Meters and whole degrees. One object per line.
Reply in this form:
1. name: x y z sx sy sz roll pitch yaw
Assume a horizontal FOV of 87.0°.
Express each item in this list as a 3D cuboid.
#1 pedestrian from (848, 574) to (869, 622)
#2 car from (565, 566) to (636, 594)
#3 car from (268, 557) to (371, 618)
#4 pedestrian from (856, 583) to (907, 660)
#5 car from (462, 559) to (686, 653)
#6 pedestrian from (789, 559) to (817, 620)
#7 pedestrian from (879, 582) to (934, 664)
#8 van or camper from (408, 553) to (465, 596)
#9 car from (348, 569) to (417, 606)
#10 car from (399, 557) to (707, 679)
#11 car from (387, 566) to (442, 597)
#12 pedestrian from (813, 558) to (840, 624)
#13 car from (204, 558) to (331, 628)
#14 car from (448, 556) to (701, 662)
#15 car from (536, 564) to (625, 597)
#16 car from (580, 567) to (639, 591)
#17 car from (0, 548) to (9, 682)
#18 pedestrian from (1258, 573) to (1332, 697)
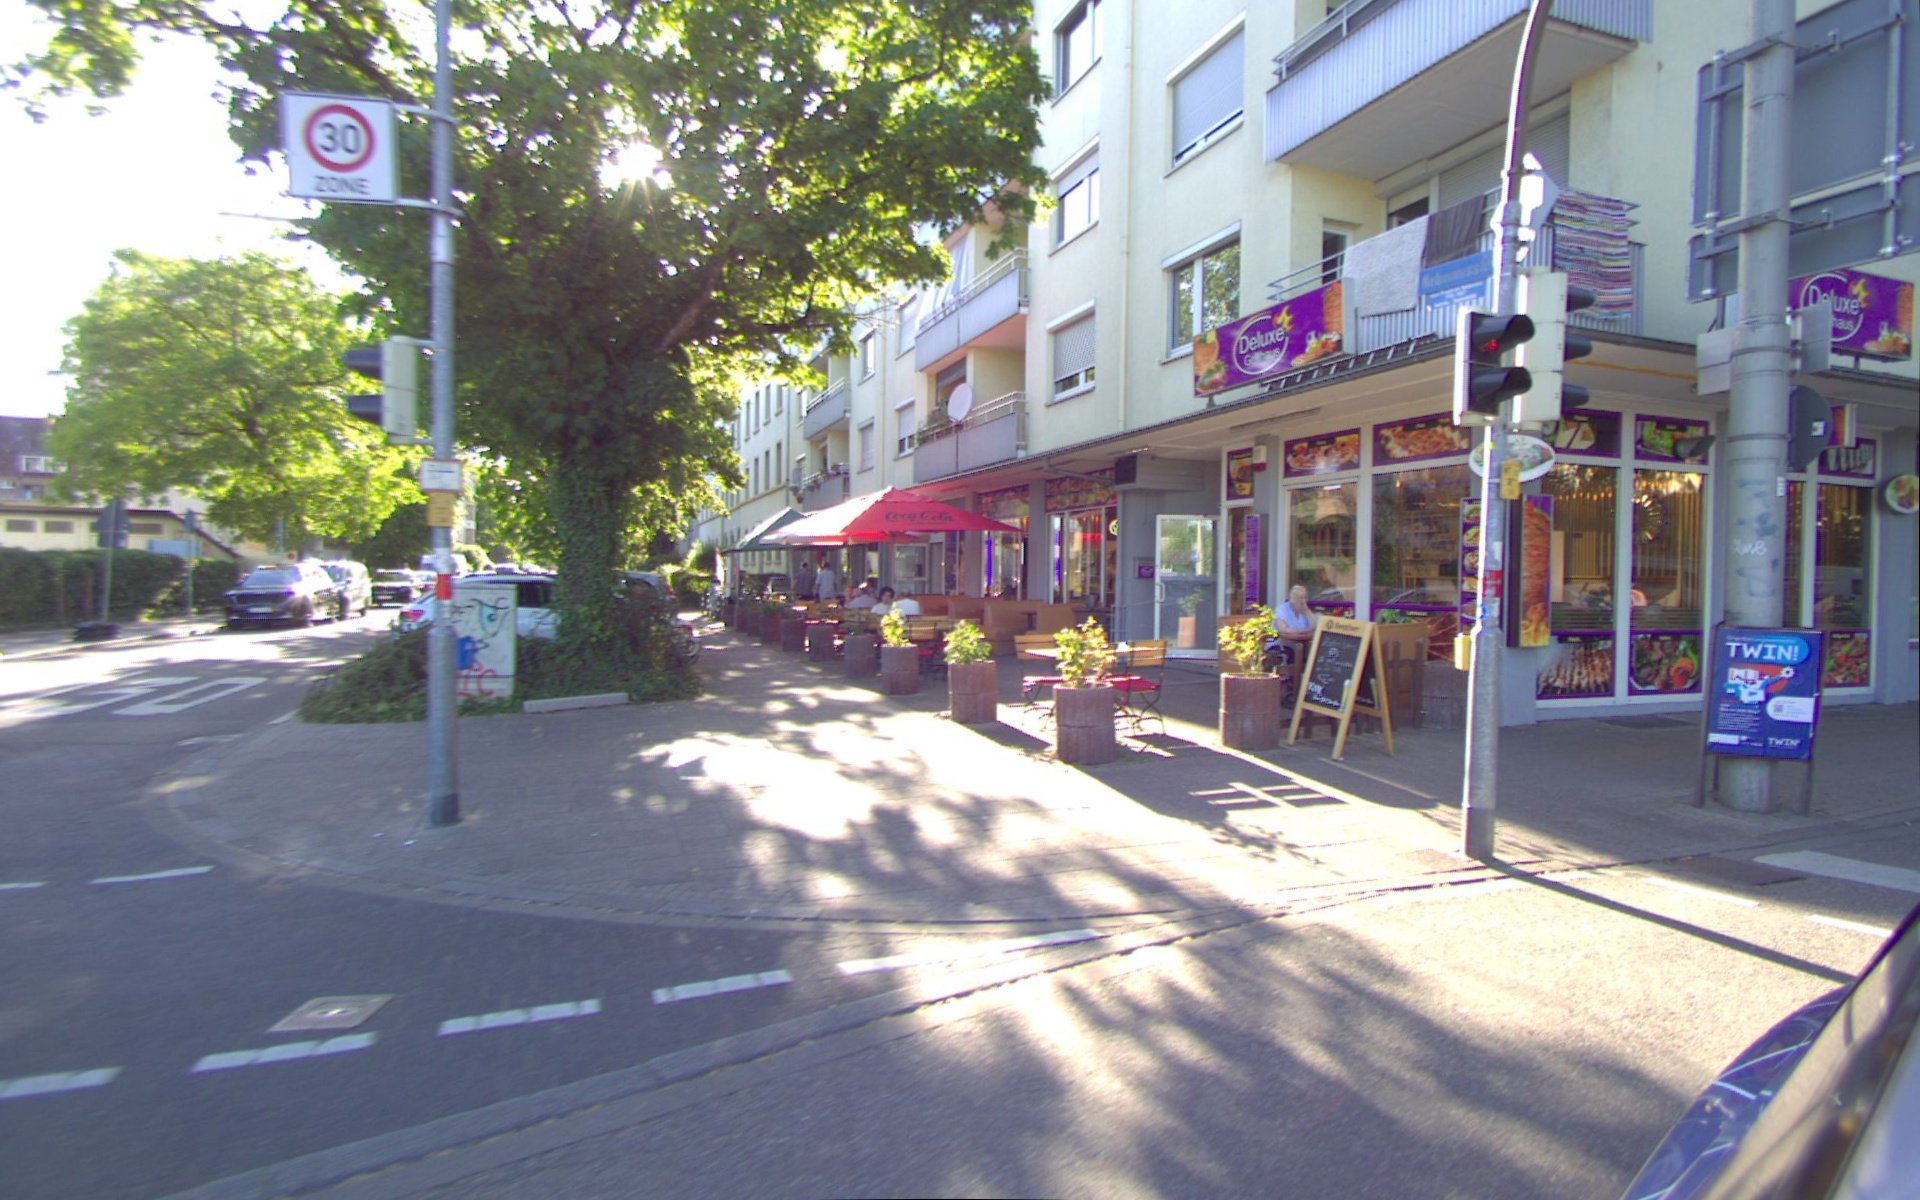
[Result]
1. pedestrian: -2.947 -0.068 29.307 0.559 1.377 0.675 0 1 -9
2. car: -20.952 -1.172 59.054 3.790 1.609 1.720 0 1 -24
3. car: -20.745 -0.453 32.949 1.958 1.838 4.338 0 2 -20
4. pedestrian: -1.312 0.338 16.813 0.647 1.233 0.742 0 1 -21
5. car: -7.261 0.083 19.154 3.790 1.638 1.720 0 1 -24
6. pedestrian: -4.521 -0.313 29.117 0.707 1.730 0.540 0 1 -16
7. pedestrian: -0.850 0.347 15.901 0.647 1.233 0.742 0 1 -21
8. van or camper: -30.245 -1.487 58.639 2.321 2.367 5.026 0 2 -20
9. car: -24.950 -0.577 43.882 1.958 1.549 4.009 0 2 -20
10. car: -5.867 0.208 14.794 3.952 1.601 1.713 0 1 -24
11. car: -28.109 -0.981 52.282 1.958 1.549 4.009 0 2 -20
12. pedestrian: -3.773 -0.246 28.535 0.660 1.834 0.540 0 1 -16
13. car: -18.827 -0.240 27.717 1.958 1.749 4.009 0 2 -20
14. car: -6.469 0.108 17.136 3.823 1.638 1.720 0 1 -24
15. car: -17.532 -0.905 46.729 3.790 1.498 1.720 0 1 -24
16. car: -24.564 -1.464 70.934 3.790 1.609 1.720 0 1 -24
17. car: -11.548 0.152 9.732 1.769 1.835 4.200 -3 3 -17
18. pedestrian: 3.786 0.381 11.463 0.594 1.358 0.495 0 1 -20
